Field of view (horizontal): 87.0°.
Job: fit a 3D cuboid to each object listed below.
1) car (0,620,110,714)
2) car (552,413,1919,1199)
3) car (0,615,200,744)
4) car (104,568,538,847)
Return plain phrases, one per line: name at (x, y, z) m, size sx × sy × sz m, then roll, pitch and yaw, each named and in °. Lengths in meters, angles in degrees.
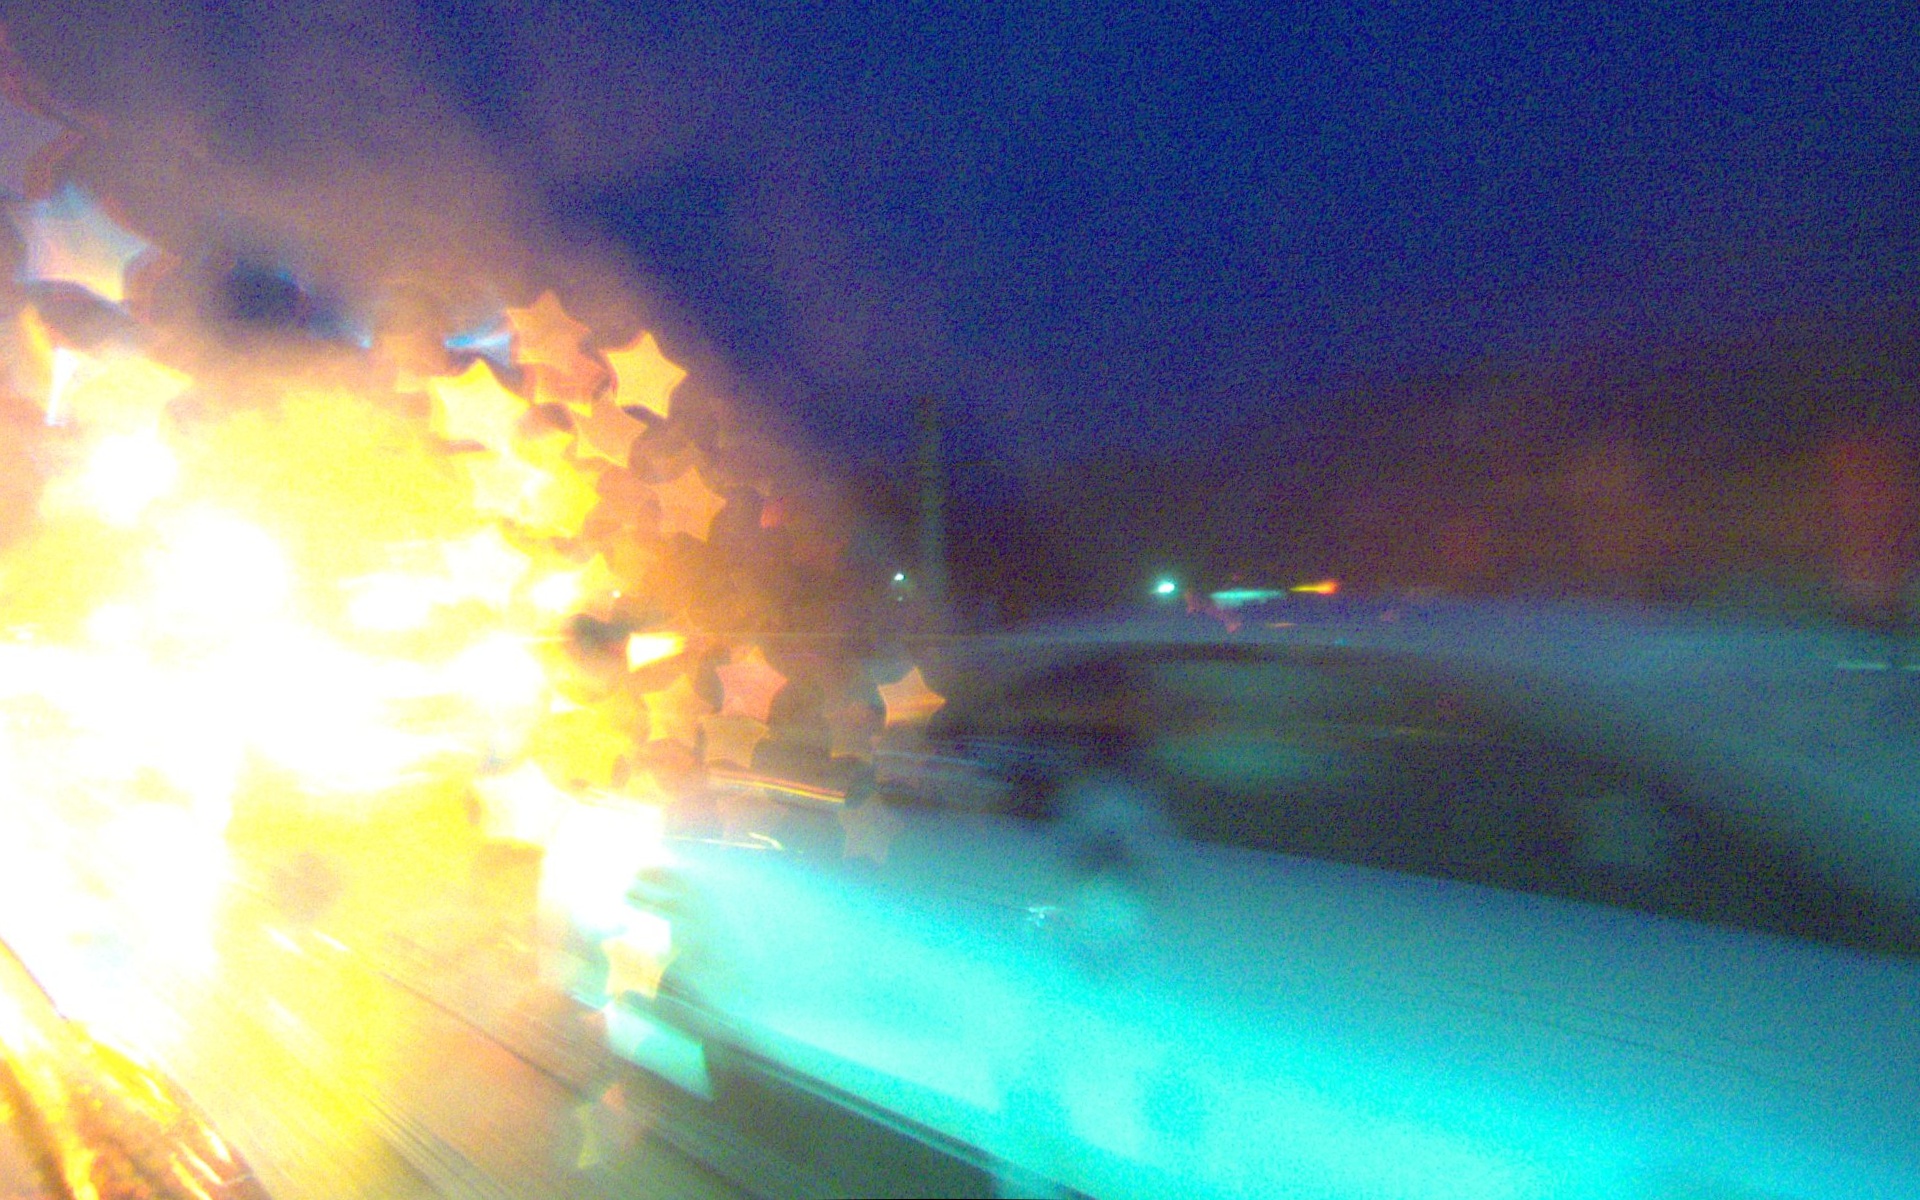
car at (-16.503, 1.125, 17.894) m, size 3.630 × 1.484 × 1.652 m, roll -2°, pitch -1°, yaw 40°
car at (0.982, 0.599, 2.476) m, size 4.595 × 1.587 × 1.824 m, roll -2°, pitch -1°, yaw 42°
car at (-11.813, 0.980, 13.698) m, size 3.881 × 1.484 × 1.605 m, roll -2°, pitch -1°, yaw 40°
car at (-5.388, 0.690, 8.261) m, size 4.443 × 1.681 × 1.825 m, roll -2°, pitch -1°, yaw 41°
